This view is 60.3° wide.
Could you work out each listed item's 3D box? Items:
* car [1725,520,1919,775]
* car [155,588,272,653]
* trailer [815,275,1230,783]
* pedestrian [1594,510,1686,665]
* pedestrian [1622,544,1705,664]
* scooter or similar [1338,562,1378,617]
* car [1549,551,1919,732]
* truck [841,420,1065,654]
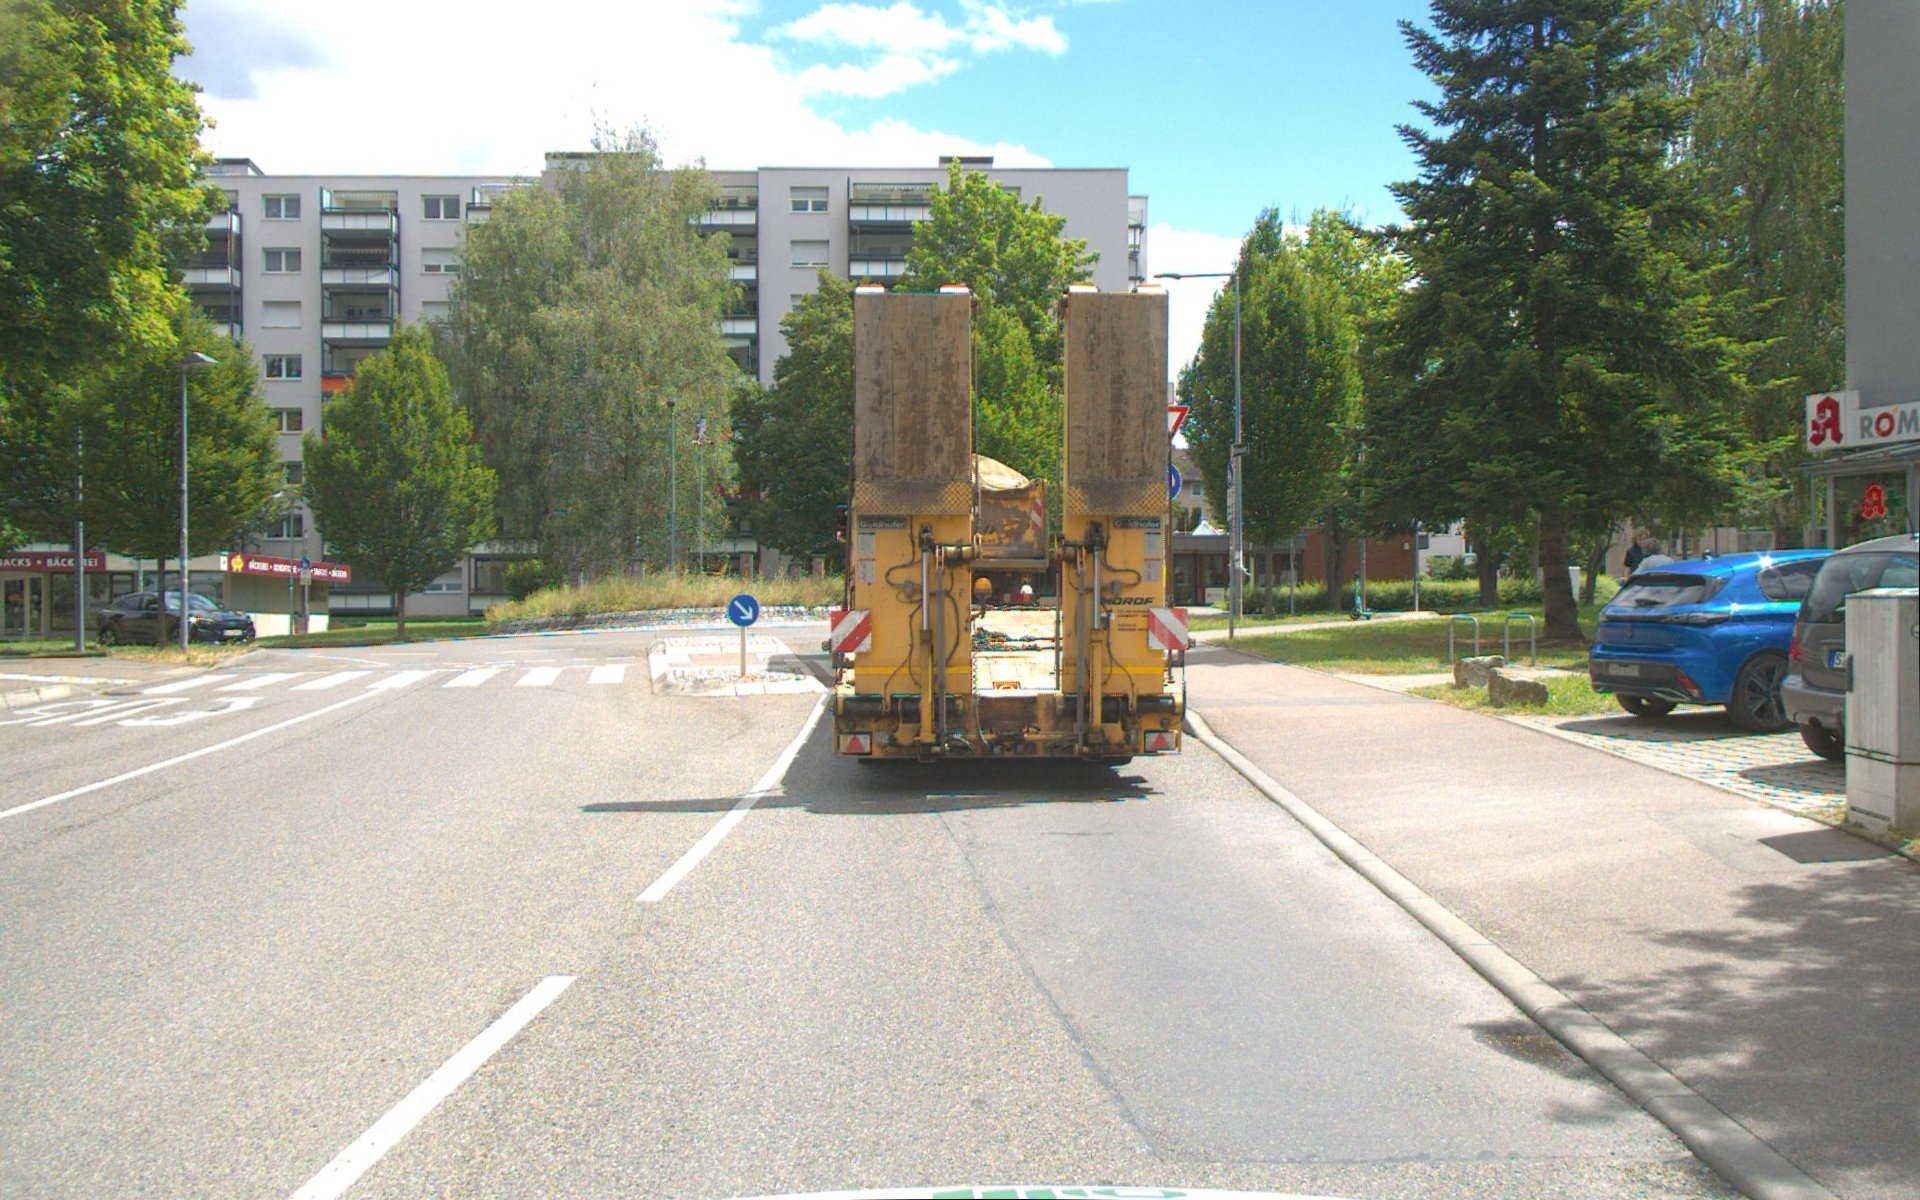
[{"bbox_3d":[7.617,0.189,11.504,3.664,1.584,2.026,-3,1,-13],"label":"car"},{"bbox_3d":[-19.390,0.510,42.873,1.977,1.552,4.469,-2,0,-35],"label":"car"},{"bbox_3d":[0.317,-0.598,16.661,2.805,3.431,10.839,0,1,-1],"label":"trailer"},{"bbox_3d":[9.274,-0.175,22.594,0.642,2.049,1.043,-1,0,-13],"label":"pedestrian"},{"bbox_3d":[9.366,0.045,22.037,0.728,1.556,0.689,-1,0,-10],"label":"pedestrian"},{"bbox_3d":[10.323,-0.272,42.895,0.476,1.366,1.383,-2,1,36],"label":"scooter or similar"},{"bbox_3d":[7.836,0.281,14.882,4.408,1.265,1.993,-4,1,-14],"label":"car"},{"bbox_3d":[-0.396,-0.978,26.378,2.929,3.087,8.479,1,2,-5],"label":"truck"}]
